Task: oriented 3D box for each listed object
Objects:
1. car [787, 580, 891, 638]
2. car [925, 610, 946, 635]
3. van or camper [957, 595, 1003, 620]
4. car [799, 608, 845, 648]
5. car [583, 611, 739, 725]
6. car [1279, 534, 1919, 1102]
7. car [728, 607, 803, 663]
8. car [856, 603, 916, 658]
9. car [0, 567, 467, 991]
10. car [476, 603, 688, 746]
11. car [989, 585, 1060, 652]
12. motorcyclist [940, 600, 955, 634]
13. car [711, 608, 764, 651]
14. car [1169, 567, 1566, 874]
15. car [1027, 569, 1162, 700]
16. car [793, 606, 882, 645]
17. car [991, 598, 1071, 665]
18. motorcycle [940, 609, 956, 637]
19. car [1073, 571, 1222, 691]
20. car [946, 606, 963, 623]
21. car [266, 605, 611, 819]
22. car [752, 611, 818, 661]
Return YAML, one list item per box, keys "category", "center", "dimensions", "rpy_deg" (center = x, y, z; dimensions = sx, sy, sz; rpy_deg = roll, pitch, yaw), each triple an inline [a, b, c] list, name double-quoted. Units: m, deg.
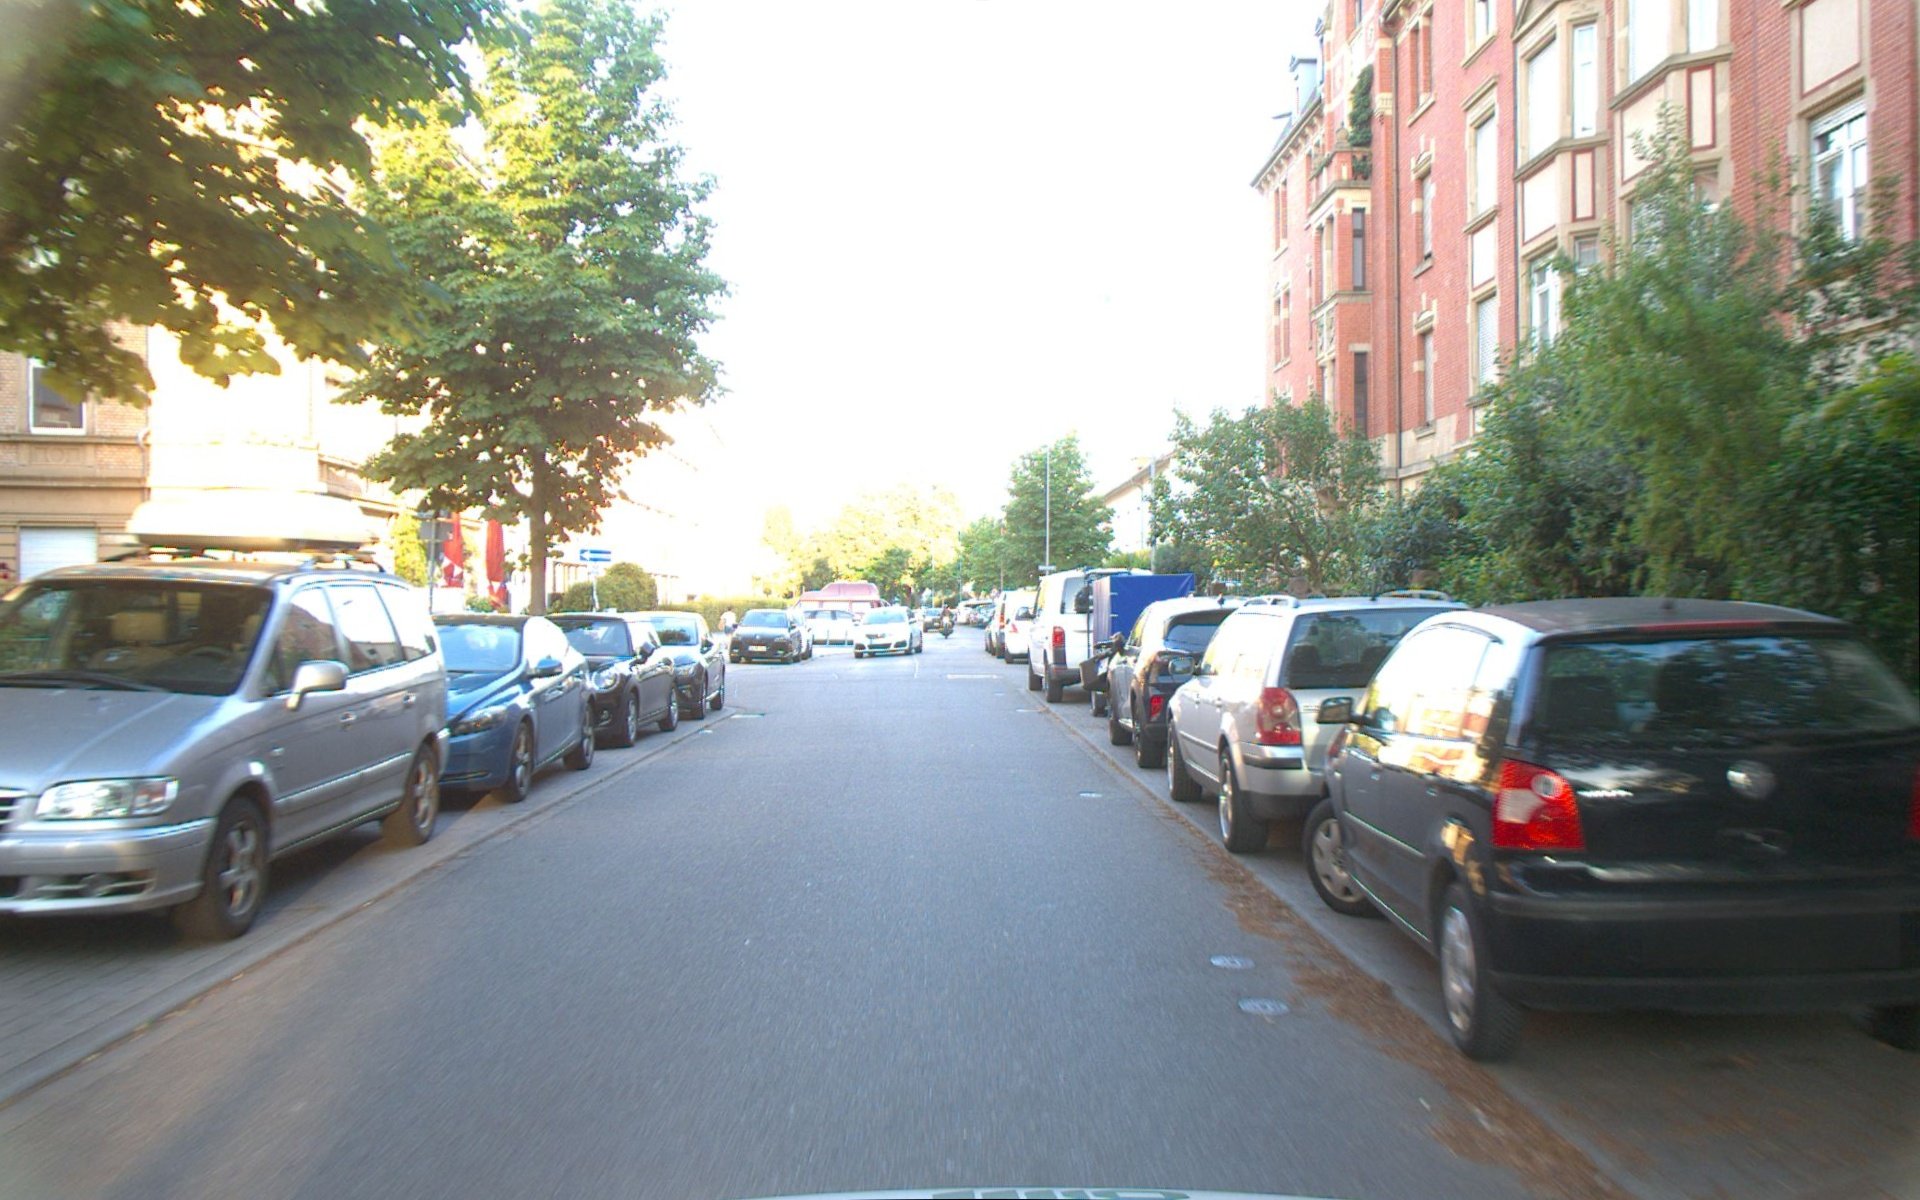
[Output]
- category: "car"
  center: [-5.027, 0.360, 69.225]
  dimensions: [4.263, 2.359, 1.744]
  rpy_deg: [0, 0, -3]
- category: "car"
  center: [-1.645, 1.471, 111.024]
  dimensions: [1.403, 1.624, 3.482]
  rpy_deg: [0, 0, -1]
- category: "van or camper"
  center: [2.351, 0.876, 191.750]
  dimensions: [5.171, 2.840, 1.547]
  rpy_deg: [0, 0, -12]
- category: "car"
  center: [-5.273, 1.062, 63.509]
  dimensions: [1.682, 1.466, 3.627]
  rpy_deg: [0, 0, -4]
- category: "car"
  center: [-4.227, 0.915, 23.890]
  dimensions: [1.566, 1.466, 3.837]
  rpy_deg: [0, 0, 0]
- category: "car"
  center: [2.502, 0.644, 6.760]
  dimensions: [1.652, 1.634, 3.940]
  rpy_deg: [0, 0, 0]
- category: "car"
  center: [-5.410, 0.969, 46.284]
  dimensions: [1.680, 1.512, 3.630]
  rpy_deg: [0, -1, 0]
- category: "car"
  center: [-2.257, 0.908, 51.109]
  dimensions: [1.776, 1.624, 3.482]
  rpy_deg: [0, 0, -1]
- category: "car"
  center: [-4.044, 0.692, 8.607]
  dimensions: [1.681, 1.624, 4.518]
  rpy_deg: [0, 0, -1]
- category: "car"
  center: [-4.254, 0.779, 19.128]
  dimensions: [1.681, 1.466, 3.630]
  rpy_deg: [0, 0, -1]
- category: "car"
  center: [1.807, 0.534, 47.616]
  dimensions: [1.653, 1.843, 3.937]
  rpy_deg: [0, -1, -4]
- category: "motorcyclist"
  center: [-0.619, 0.838, 82.693]
  dimensions: [0.688, 1.659, 0.822]
  rpy_deg: [-1, 0, -1]
- category: "car"
  center: [-8.074, 1.053, 60.208]
  dimensions: [1.682, 1.466, 3.627]
  rpy_deg: [-1, 0, -4]
- category: "car"
  center: [2.433, 0.660, 10.833]
  dimensions: [1.652, 1.634, 3.940]
  rpy_deg: [0, 0, 0]
- category: "car"
  center: [2.114, 0.540, 26.962]
  dimensions: [1.647, 1.975, 3.877]
  rpy_deg: [0, -1, -4]
- category: "car"
  center: [-4.930, 1.016, 66.561]
  dimensions: [3.548, 1.487, 1.605]
  rpy_deg: [0, 0, -5]
- category: "car"
  center: [1.785, 0.786, 42.733]
  dimensions: [1.653, 1.634, 3.937]
  rpy_deg: [0, -1, -4]
- category: "motorcycle"
  center: [-0.605, 1.128, 82.837]
  dimensions: [0.727, 1.272, 3.377]
  rpy_deg: [-1, 1, -1]
- category: "car"
  center: [2.560, 0.413, 23.215]
  dimensions: [1.508, 1.548, 3.429]
  rpy_deg: [0, -1, -4]
- category: "car"
  center: [-0.536, 1.441, 166.020]
  dimensions: [1.681, 1.624, 3.482]
  rpy_deg: [0, 0, -1]
- category: "car"
  center: [-4.144, 0.805, 13.807]
  dimensions: [1.681, 1.490, 3.986]
  rpy_deg: [0, 0, -1]
- category: "car"
  center: [-5.444, 1.103, 51.668]
  dimensions: [1.680, 1.466, 3.630]
  rpy_deg: [0, 0, 0]
